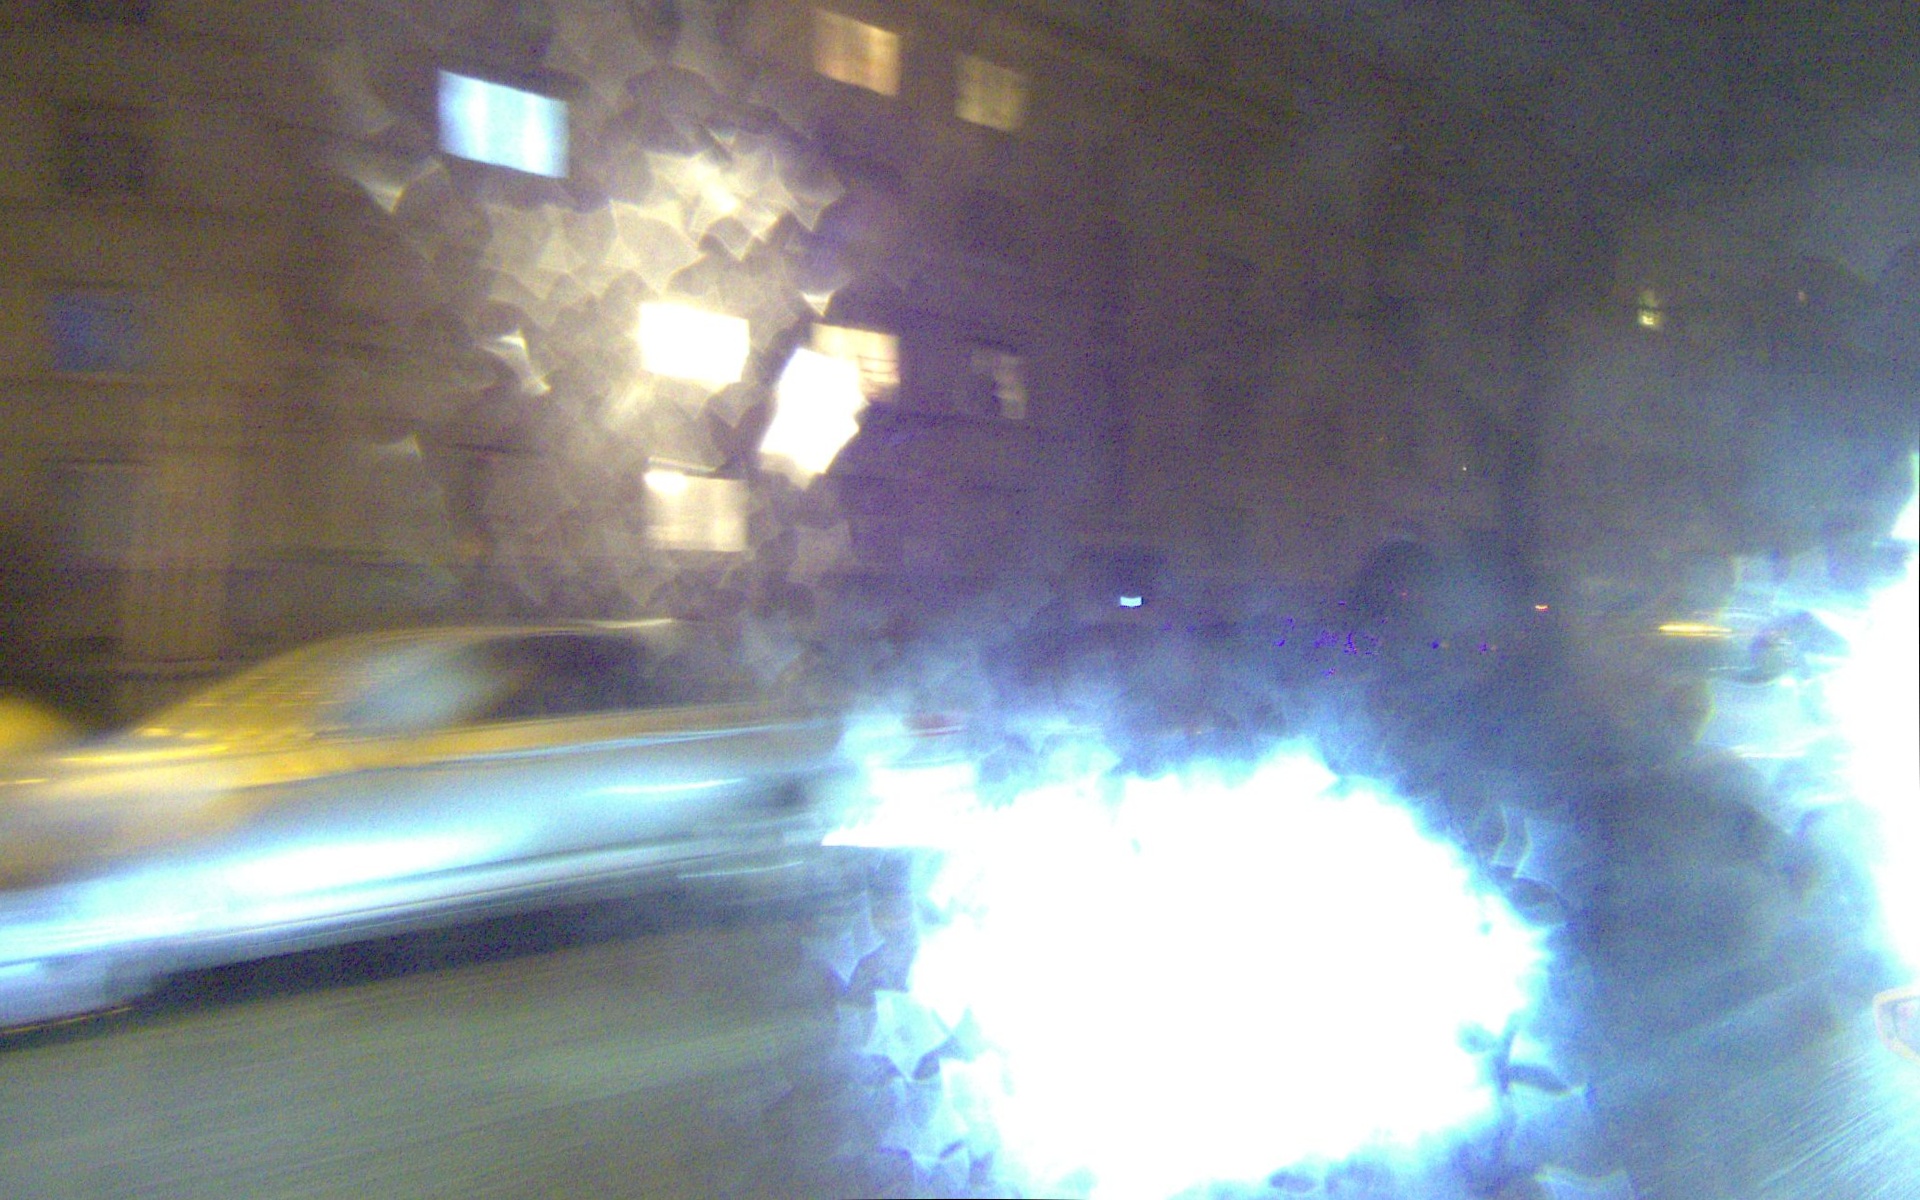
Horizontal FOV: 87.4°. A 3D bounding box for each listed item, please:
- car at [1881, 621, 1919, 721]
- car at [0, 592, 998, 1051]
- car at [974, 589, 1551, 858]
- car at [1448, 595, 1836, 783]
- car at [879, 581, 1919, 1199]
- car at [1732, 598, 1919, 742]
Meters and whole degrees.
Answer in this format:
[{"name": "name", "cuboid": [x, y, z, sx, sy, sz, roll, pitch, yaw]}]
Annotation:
[{"name": "car", "cuboid": [16.899, 1.122, 16.379, 3.953, 1.558, 1.588, 1, -4, -30]}, {"name": "car", "cuboid": [-2.166, 0.775, 4.769, 4.591, 1.476, 1.570, 1, -4, -32]}, {"name": "car", "cuboid": [2.355, 0.772, 7.562, 4.246, 1.556, 1.606, 0, -3, -29]}, {"name": "car", "cuboid": [7.146, 0.827, 10.397, 4.402, 1.591, 1.605, 1, -4, -32]}, {"name": "car", "cuboid": [2.084, 0.721, 3.988, 4.472, 1.480, 1.847, 1, 0, -32]}, {"name": "car", "cuboid": [12.020, 0.877, 12.979, 4.402, 1.591, 1.751, 2, -4, -32]}]
